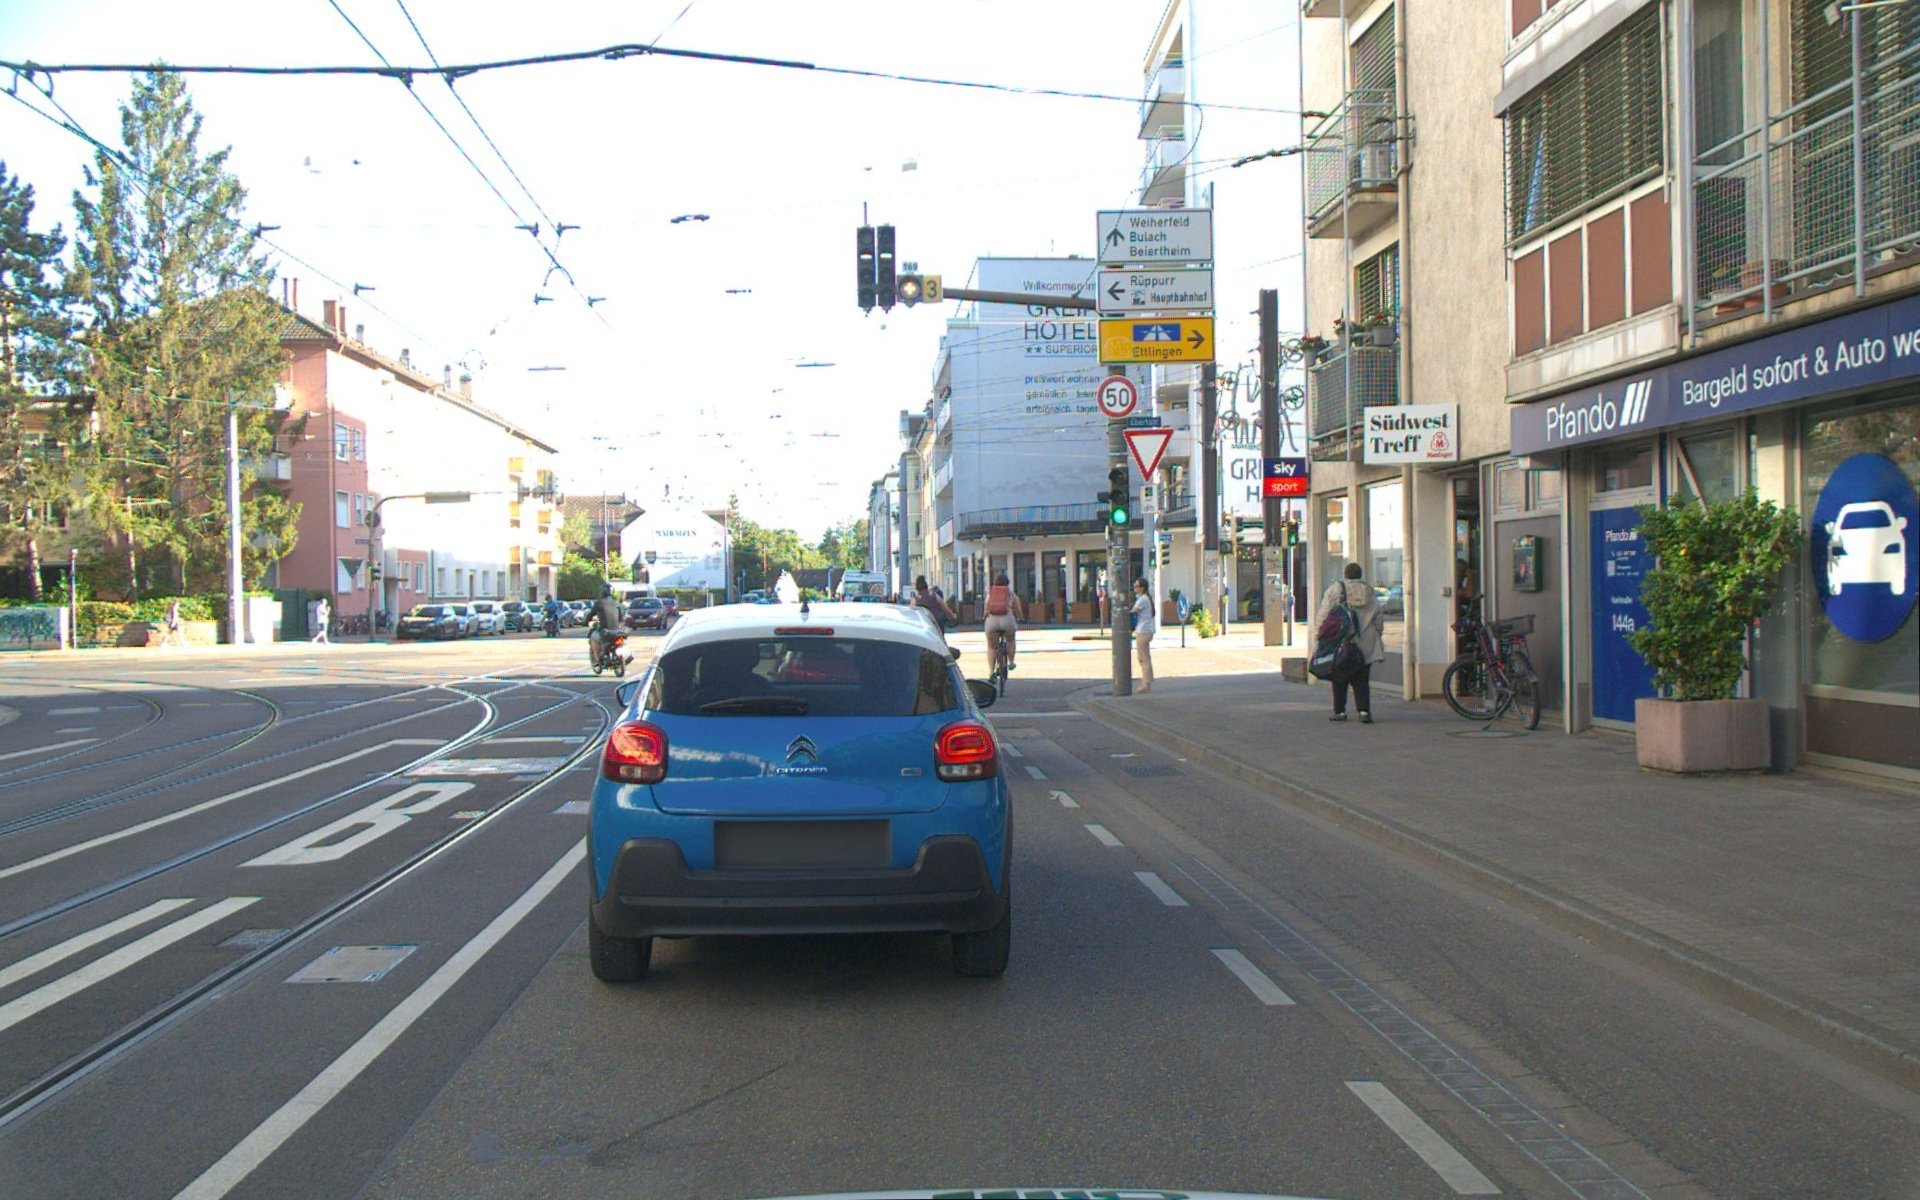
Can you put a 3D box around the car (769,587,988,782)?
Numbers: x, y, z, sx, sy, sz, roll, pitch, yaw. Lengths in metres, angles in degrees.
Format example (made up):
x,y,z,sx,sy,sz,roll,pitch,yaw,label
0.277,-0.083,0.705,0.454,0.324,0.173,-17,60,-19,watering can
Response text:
x,y,z,sx,sy,sz,roll,pitch,yaw,label
-0.832,0.674,15.280,1.750,1.548,3.758,1,1,-5,car

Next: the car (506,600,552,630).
x,y,z,sx,sy,sz,roll,pitch,yaw,label
-23.855,0.822,91.703,1.833,1.604,3.995,1,0,-6,car

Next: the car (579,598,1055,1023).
x,y,z,sx,sy,sz,roll,pitch,yaw,label
-0.792,0.734,7.718,1.705,1.478,3.654,0,0,-10,car

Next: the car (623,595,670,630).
x,y,z,sx,sy,sz,roll,pitch,yaw,label
-14.414,0.570,76.247,1.744,1.512,3.824,-1,0,-5,car

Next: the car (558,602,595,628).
x,y,z,sx,sy,sz,roll,pitch,yaw,label
-24.899,0.952,107.397,1.833,1.604,3.995,1,0,-6,car

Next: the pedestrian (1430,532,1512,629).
x,y,z,sx,sy,sz,roll,pitch,yaw,label
5.970,-0.230,19.329,0.618,1.106,0.670,-2,1,-38,pedestrian

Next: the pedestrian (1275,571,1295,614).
x,y,z,sx,sy,sz,roll,pitch,yaw,label
12.709,-0.292,64.616,0.598,1.636,0.668,1,-1,27,pedestrian

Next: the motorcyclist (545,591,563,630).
x,y,z,sx,sy,sz,roll,pitch,yaw,label
-16.192,0.426,65.933,0.681,1.523,0.682,-1,-2,-14,motorcyclist

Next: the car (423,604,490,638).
x,y,z,sx,sy,sz,roll,pitch,yaw,label
-22.437,0.908,73.782,1.865,1.462,4.100,1,0,-3,car

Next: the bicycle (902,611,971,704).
x,y,z,sx,sy,sz,roll,pitch,yaw,label
-0.354,0.784,23.482,0.921,1.245,2.094,1,0,-2,bicycle

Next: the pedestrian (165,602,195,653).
x,y,z,sx,sy,sz,roll,pitch,yaw,label
-26.872,0.942,56.987,0.777,1.752,0.694,1,-1,-40,pedestrian

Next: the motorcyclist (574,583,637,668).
x,y,z,sx,sy,sz,roll,pitch,yaw,label
-6.484,0.464,30.254,0.714,1.514,0.855,1,-1,33,motorcyclist

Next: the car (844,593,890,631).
x,y,z,sx,sy,sz,roll,pitch,yaw,label
-3.843,0.483,67.720,1.626,1.456,3.882,1,0,-7,car

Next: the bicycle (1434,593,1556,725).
x,y,z,sx,sy,sz,roll,pitch,yaw,label
5.091,0.541,15.837,0.486,1.182,1.776,-1,0,-4,bicycle

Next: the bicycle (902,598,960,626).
x,y,z,sx,sy,sz,roll,pitch,yaw,label
-1.150,0.461,65.790,2.208,1.019,0.855,-2,0,-6,bicycle

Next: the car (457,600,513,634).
x,y,z,sx,sy,sz,roll,pitch,yaw,label
-22.617,0.798,78.908,1.707,1.553,4.226,1,0,-4,car

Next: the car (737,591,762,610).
x,y,z,sx,sy,sz,roll,pitch,yaw,label
-21.608,0.052,169.637,2.174,1.965,4.945,1,0,-4,car

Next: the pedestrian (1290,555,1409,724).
x,y,z,sx,sy,sz,roll,pitch,yaw,label
3.954,0.383,16.821,0.868,1.619,0.809,-3,1,-9,pedestrian

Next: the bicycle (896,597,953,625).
x,y,z,sx,sy,sz,roll,pitch,yaw,label
-1.439,0.453,67.152,2.208,1.019,0.855,-2,0,-6,bicycle

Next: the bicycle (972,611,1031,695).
x,y,z,sx,sy,sz,roll,pitch,yaw,label
0.642,0.773,25.049,0.794,1.202,2.065,1,0,4,bicycle

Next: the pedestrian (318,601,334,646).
x,y,z,sx,sy,sz,roll,pitch,yaw,label
-22.845,0.848,59.603,0.509,1.596,0.569,1,-1,-23,pedestrian

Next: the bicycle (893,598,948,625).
x,y,z,sx,sy,sz,roll,pitch,yaw,label
-1.643,0.461,68.260,2.208,1.019,0.855,-2,0,-6,bicycle

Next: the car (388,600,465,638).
x,y,z,sx,sy,sz,roll,pitch,yaw,label
-22.105,0.828,68.714,2.112,1.457,4.435,1,-2,-5,car

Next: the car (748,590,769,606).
x,y,z,sx,sy,sz,roll,pitch,yaw,label
-22.863,-0.241,187.493,2.033,1.793,5.032,1,0,-4,car

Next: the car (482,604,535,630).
x,y,z,sx,sy,sz,roll,pitch,yaw,label
-23.310,0.878,85.555,1.909,1.261,4.278,1,0,-5,car

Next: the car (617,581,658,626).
x,y,z,sx,sy,sz,roll,pitch,yaw,label
-23.134,0.255,118.858,2.370,3.197,3.486,1,0,-4,car

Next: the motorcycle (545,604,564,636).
x,y,z,sx,sy,sz,roll,pitch,yaw,label
-16.166,0.815,65.925,0.700,1.241,1.958,-1,-2,-14,motorcycle

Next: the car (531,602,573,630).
x,y,z,sx,sy,sz,roll,pitch,yaw,label
-24.084,0.925,97.759,1.833,1.604,3.995,1,0,-6,car

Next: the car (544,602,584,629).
x,y,z,sx,sy,sz,roll,pitch,yaw,label
-24.482,0.937,102.307,1.833,1.604,3.995,1,0,-6,car

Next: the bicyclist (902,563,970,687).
x,y,z,sx,sy,sz,roll,pitch,yaw,label
-0.353,0.350,23.539,0.921,1.702,1.079,1,0,-2,bicyclist

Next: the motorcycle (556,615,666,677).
x,y,z,sx,sy,sz,roll,pitch,yaw,label
-6.373,0.833,30.177,1.901,1.065,0.855,1,0,33,motorcycle

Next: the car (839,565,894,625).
x,y,z,sx,sy,sz,roll,pitch,yaw,label
-4.151,-0.199,72.766,2.221,2.525,5.002,0,0,-5,car

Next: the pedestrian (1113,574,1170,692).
x,y,z,sx,sy,sz,roll,pitch,yaw,label
2.651,0.476,24.152,0.528,1.652,0.733,-5,-2,21,pedestrian

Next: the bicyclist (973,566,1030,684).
x,y,z,sx,sy,sz,roll,pitch,yaw,label
0.633,0.371,24.886,0.794,1.721,0.935,1,-1,4,bicyclist
